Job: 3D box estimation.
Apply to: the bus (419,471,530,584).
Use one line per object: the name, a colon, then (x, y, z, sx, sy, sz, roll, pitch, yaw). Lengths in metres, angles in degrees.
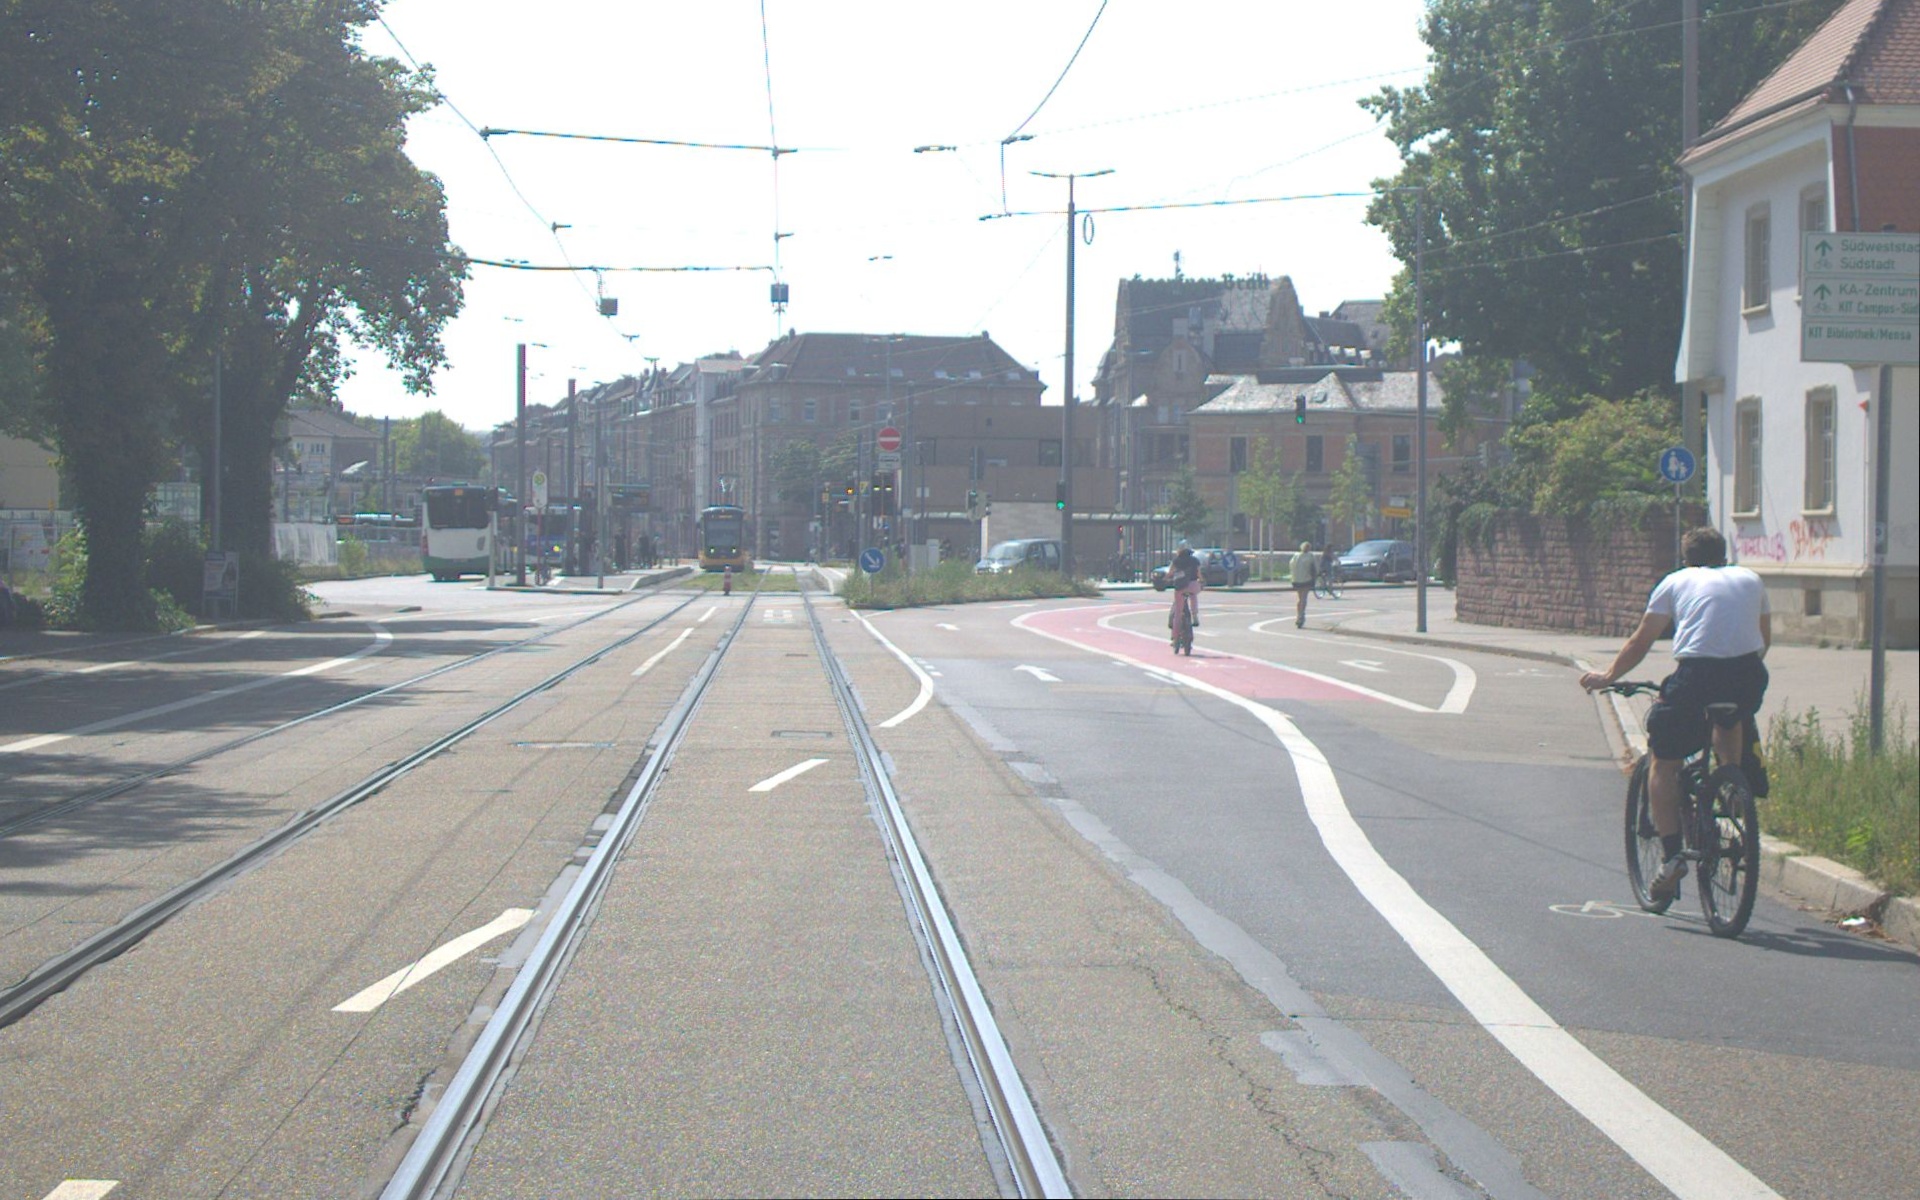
bus: (-17.116, -2.529, 121.790, 2.957, 3.762, 10.598, 1, 1, -3)

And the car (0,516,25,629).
car: (-14.642, -0.378, 45.207, 4.151, 1.491, 1.820, 0, 2, -40)

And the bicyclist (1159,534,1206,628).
bicyclist: (3.197, -0.273, 49.368, 0.602, 1.330, 0.660, 1, 1, -1)

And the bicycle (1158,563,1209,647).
bicycle: (3.199, 0.067, 49.346, 0.604, 1.159, 1.810, 1, 1, 0)

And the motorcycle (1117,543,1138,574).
motorcycle: (6.497, -1.610, 133.027, 0.604, 1.206, 2.253, 1, 1, 8)

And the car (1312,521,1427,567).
car: (14.664, -2.007, 123.007, 1.776, 1.605, 4.662, 1, 1, 41)

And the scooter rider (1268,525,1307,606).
scooter rider: (7.294, -0.772, 76.622, 0.762, 1.769, 0.555, 1, 1, 15)

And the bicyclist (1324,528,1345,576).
bicyclist: (11.242, -1.439, 103.204, 0.450, 1.416, 0.495, 1, 1, 34)

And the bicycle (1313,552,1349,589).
bicycle: (11.126, -0.885, 103.040, 0.445, 1.113, 1.443, 2, 2, 34)

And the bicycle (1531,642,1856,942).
bicycle: (2.959, 0.742, 14.117, 0.739, 1.045, 2.233, 1, 1, -3)

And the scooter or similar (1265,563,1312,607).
scooter or similar: (7.296, -0.336, 76.308, 0.773, 0.923, 1.619, 1, 1, 15)

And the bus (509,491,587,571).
bus: (-19.981, -3.345, 167.161, 2.709, 3.714, 10.420, 1, 1, -1)

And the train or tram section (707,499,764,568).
train or tram section: (-12.234, -3.621, 188.213, 2.856, 3.536, 17.745, 1, 1, -3)

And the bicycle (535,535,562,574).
bicycle: (-12.981, -1.447, 108.594, 0.607, 1.218, 1.705, 1, 1, 1)

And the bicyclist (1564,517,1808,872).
bicyclist: (2.978, 0.367, 14.180, 0.745, 1.407, 0.962, 1, 1, -2)
